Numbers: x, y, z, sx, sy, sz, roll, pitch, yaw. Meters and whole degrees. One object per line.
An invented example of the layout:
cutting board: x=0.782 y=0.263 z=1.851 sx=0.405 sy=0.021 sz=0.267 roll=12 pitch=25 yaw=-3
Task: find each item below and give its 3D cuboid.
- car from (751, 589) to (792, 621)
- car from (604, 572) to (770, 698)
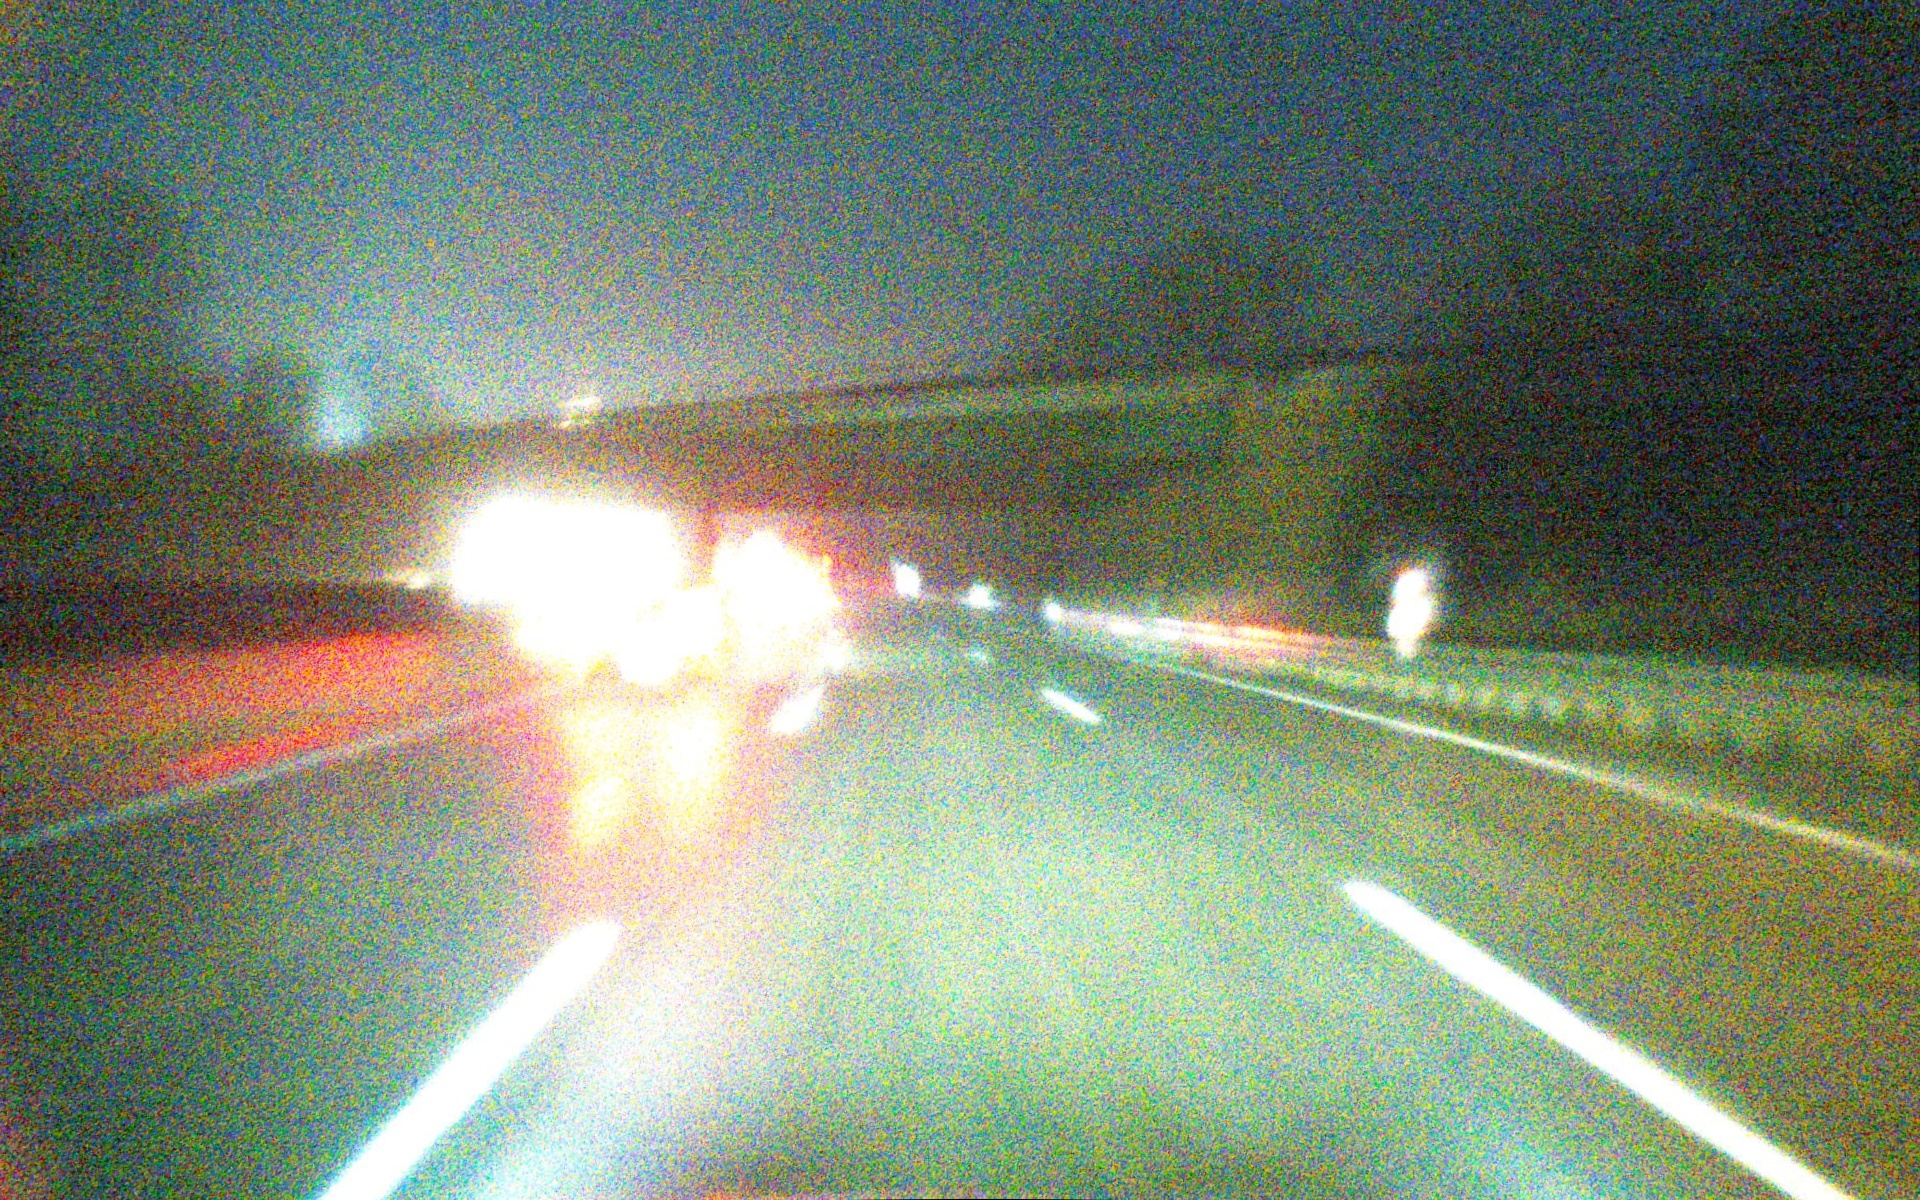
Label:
car: x=-8.025 y=0.211 z=70.179 sx=1.631 sy=1.258 sz=3.755 roll=1 pitch=0 yaw=-8
car: x=-3.970 y=0.464 z=24.793 sx=1.822 sy=1.567 sz=4.748 roll=4 pitch=0 yaw=-3
